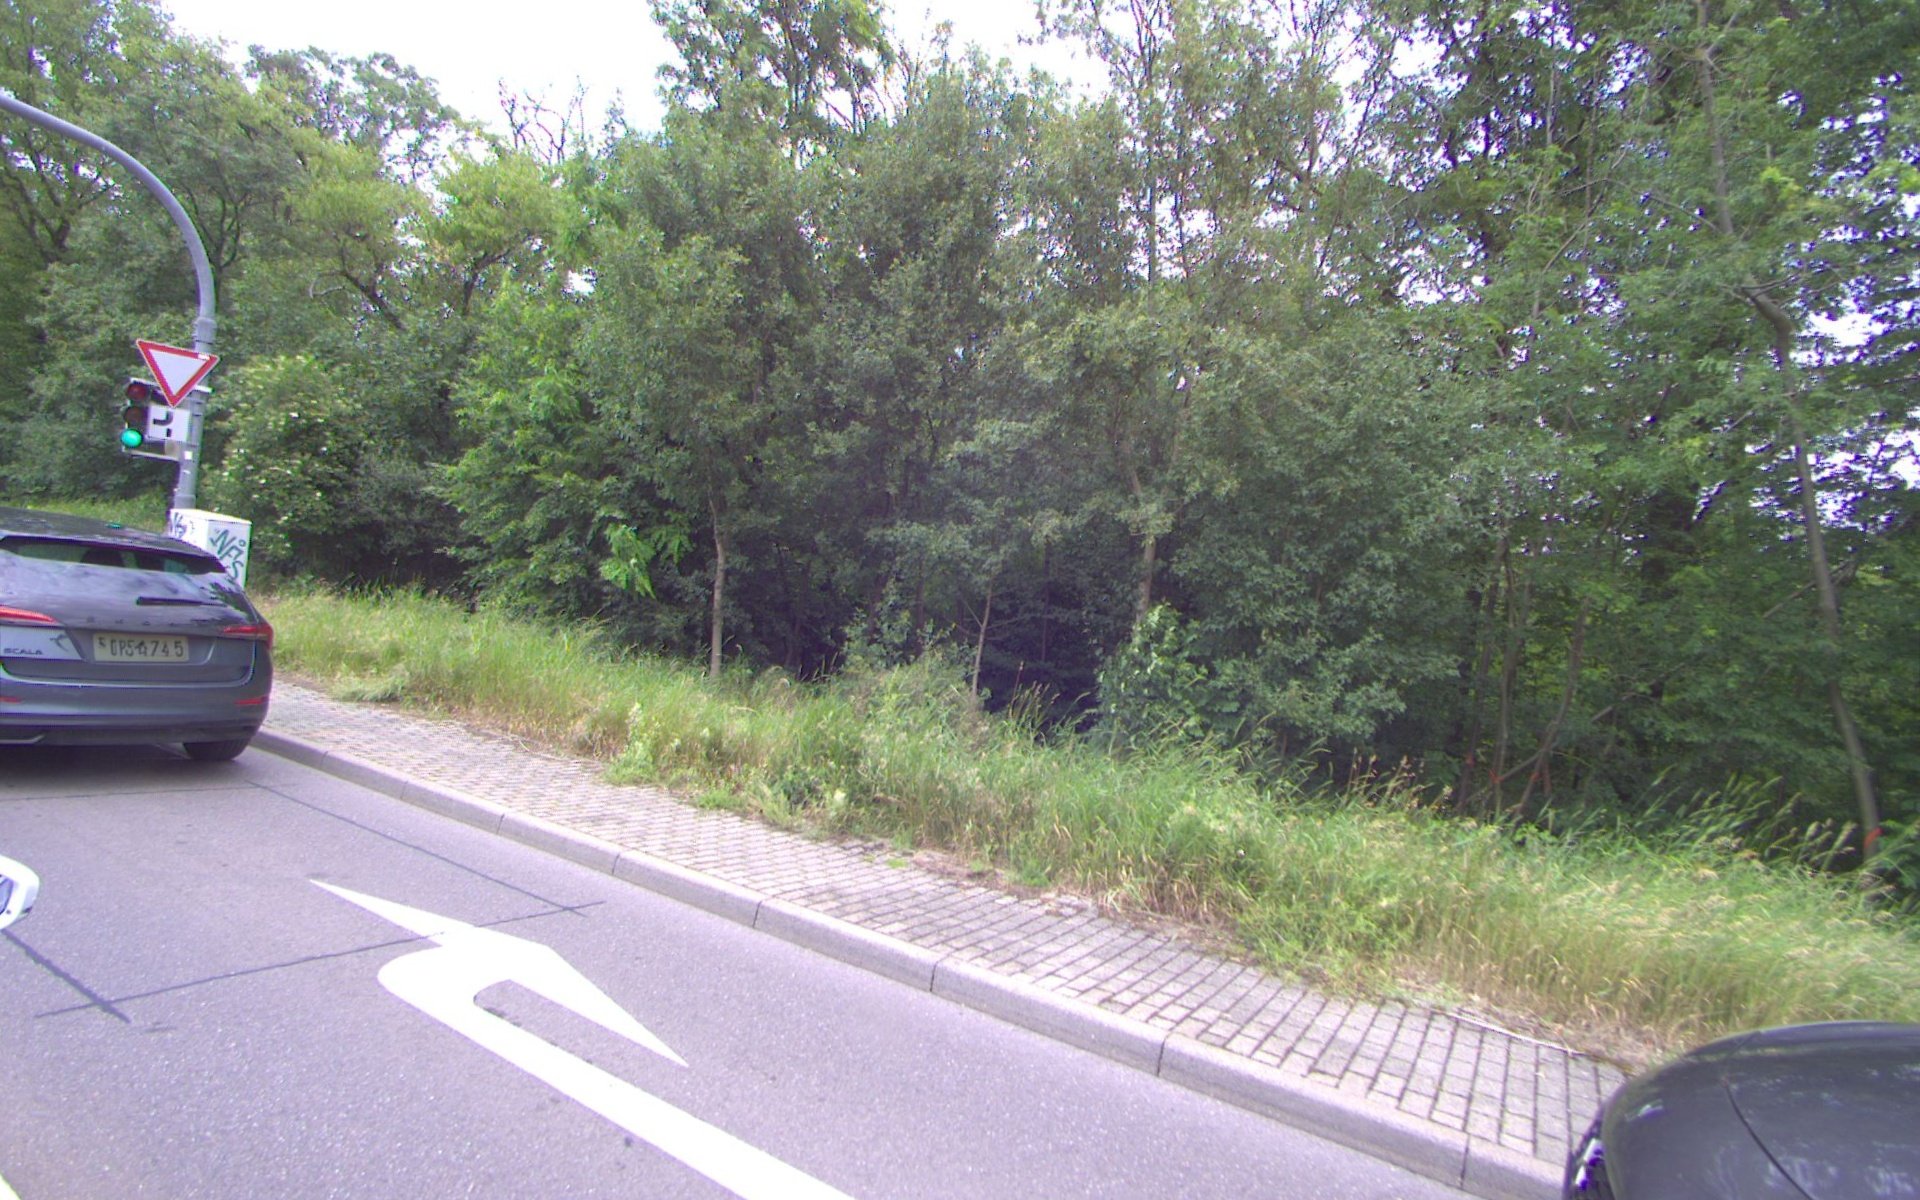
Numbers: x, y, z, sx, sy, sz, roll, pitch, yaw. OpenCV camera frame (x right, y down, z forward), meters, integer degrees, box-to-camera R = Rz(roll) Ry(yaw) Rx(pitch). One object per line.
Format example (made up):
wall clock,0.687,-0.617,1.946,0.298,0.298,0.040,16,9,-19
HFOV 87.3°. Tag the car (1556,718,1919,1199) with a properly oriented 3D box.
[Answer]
car,2.768,1.138,0.900,3.792,1.474,1.728,6,-2,33

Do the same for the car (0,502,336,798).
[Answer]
car,-6.120,0.119,6.538,3.933,1.468,1.796,7,-1,31
